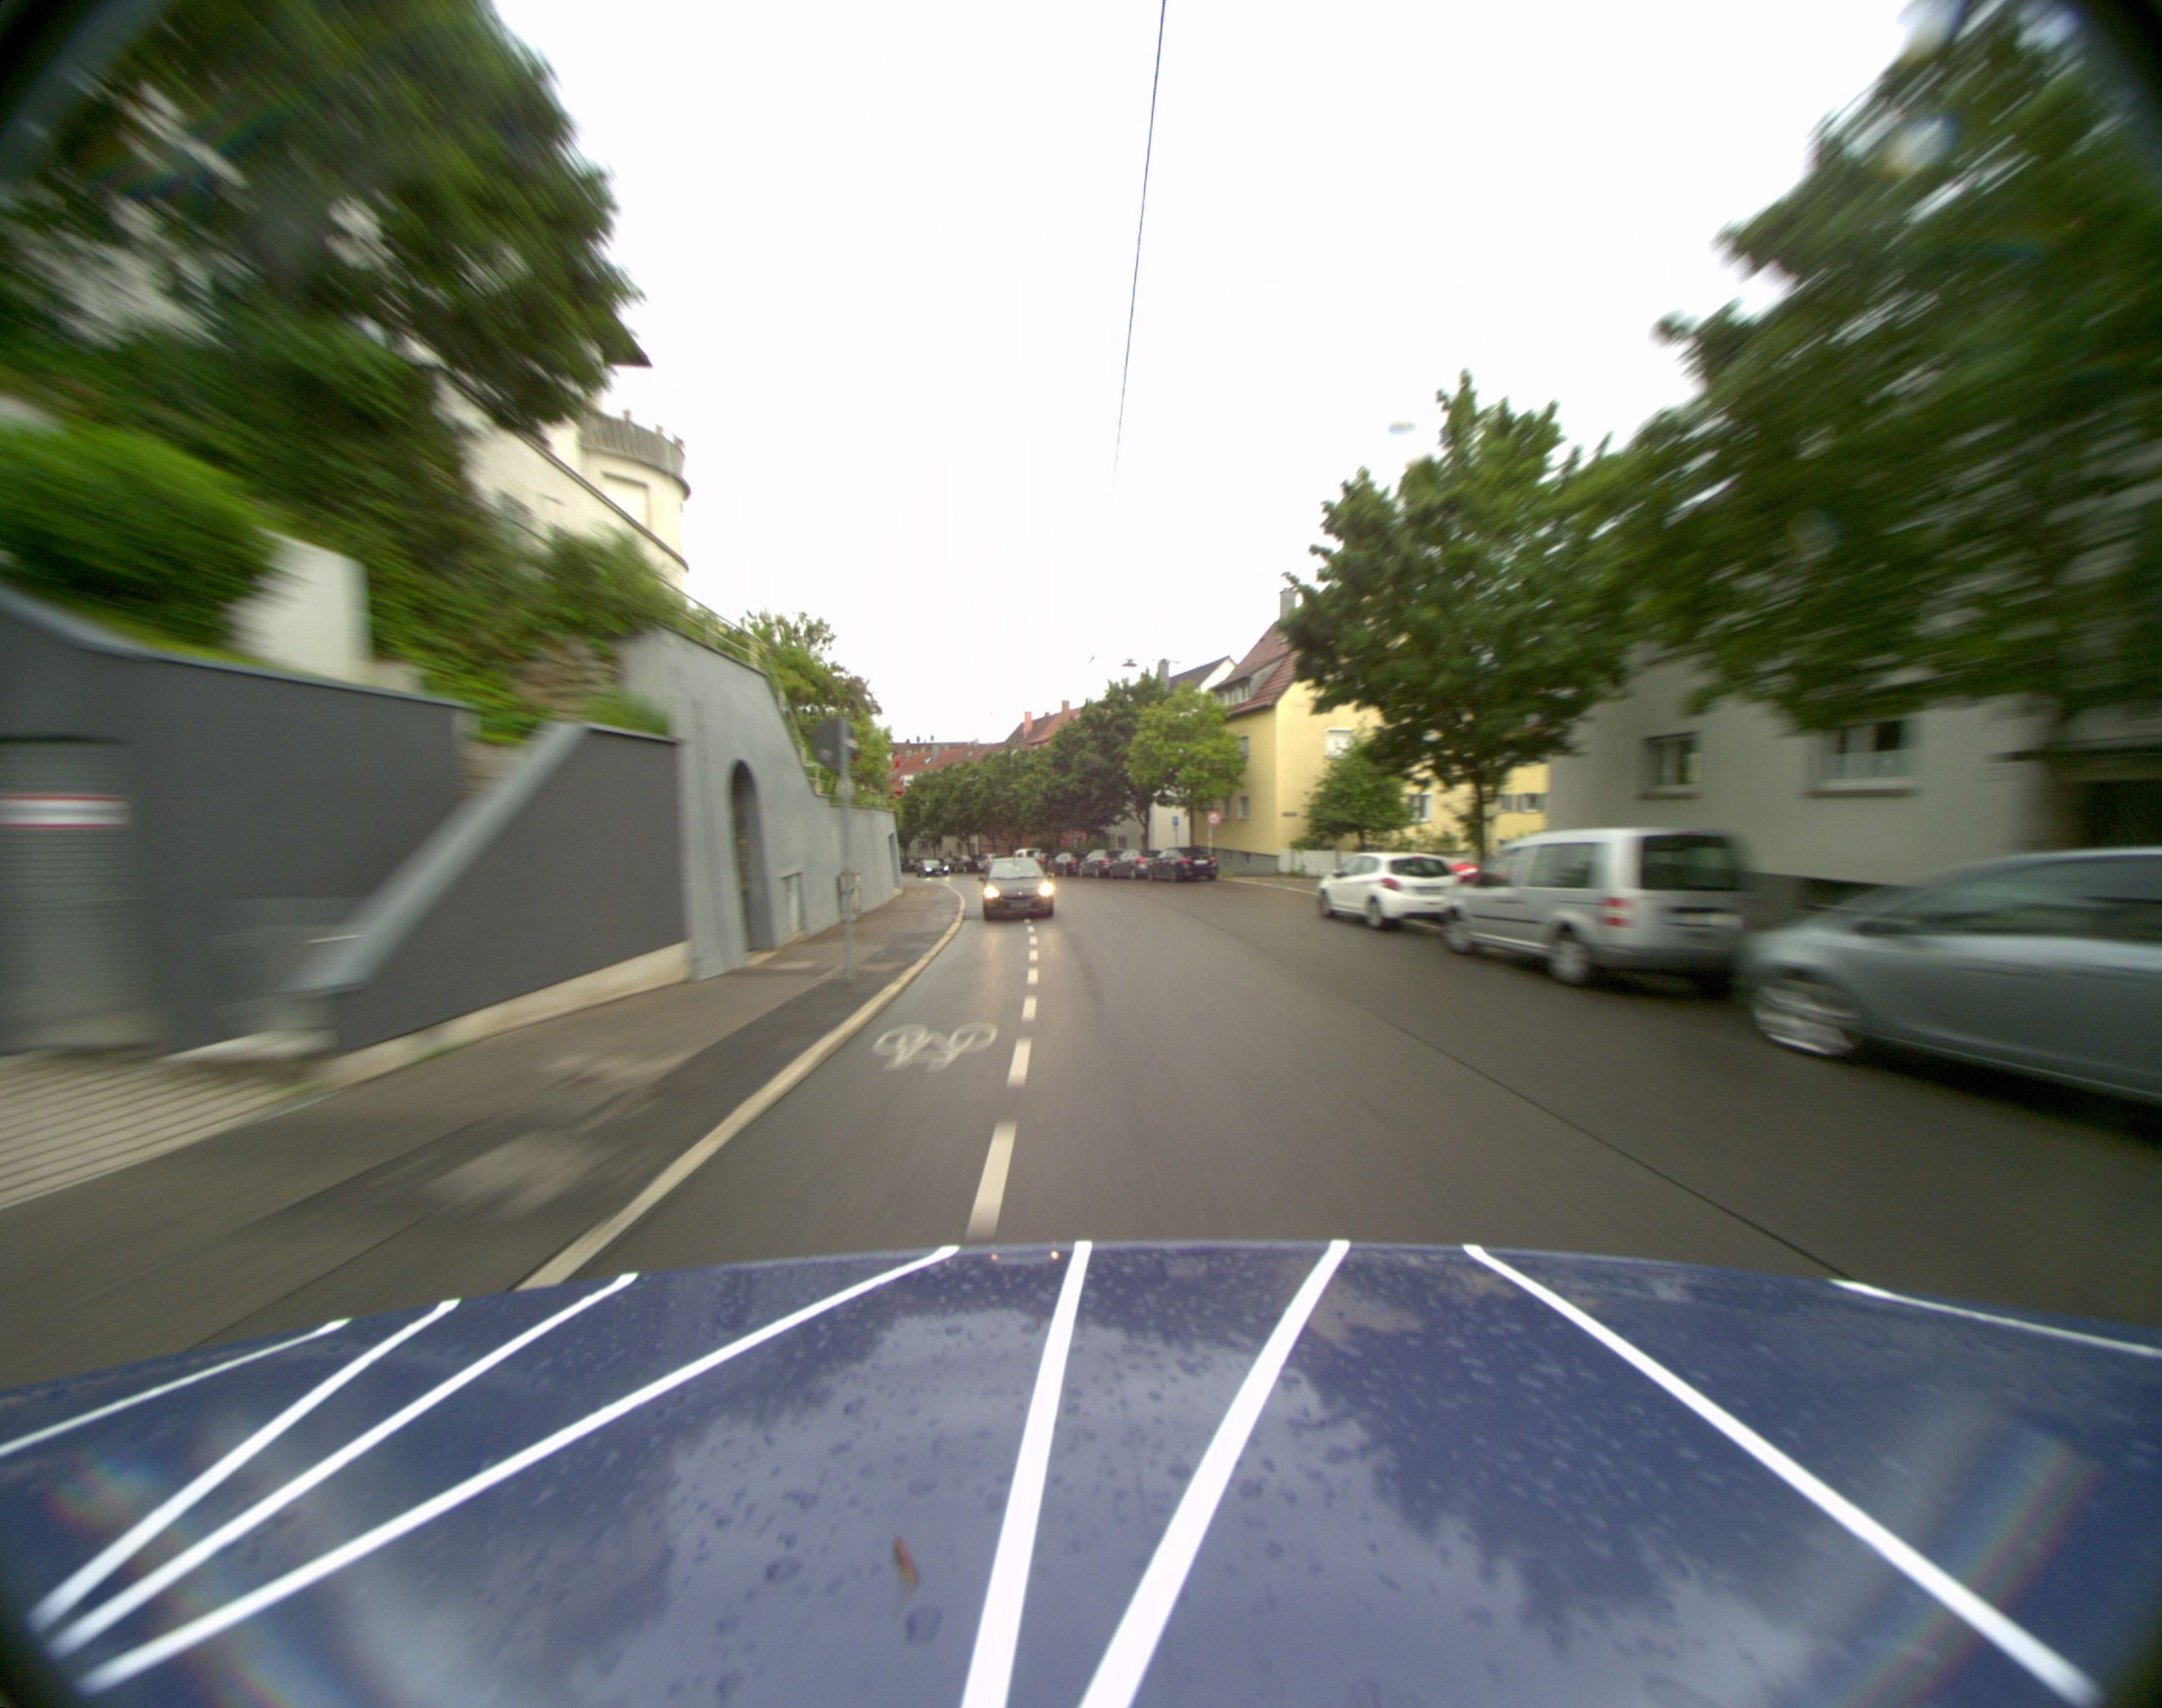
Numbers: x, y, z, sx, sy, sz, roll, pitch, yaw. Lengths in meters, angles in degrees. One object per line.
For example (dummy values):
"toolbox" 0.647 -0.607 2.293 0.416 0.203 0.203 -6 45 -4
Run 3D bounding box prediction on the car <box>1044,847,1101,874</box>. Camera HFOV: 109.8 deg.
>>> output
"car" -0.586 0.386 47.066 1.861 1.490 4.732 -4 1 -22

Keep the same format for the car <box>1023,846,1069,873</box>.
"car" -2.440 0.385 51.781 1.861 1.658 4.580 -3 1 -19

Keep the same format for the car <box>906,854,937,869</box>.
"car" -17.925 0.830 85.142 1.796 1.485 4.351 -4 1 -34

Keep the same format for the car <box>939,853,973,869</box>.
"car" -12.477 0.694 75.394 1.795 1.485 4.351 -4 1 -31

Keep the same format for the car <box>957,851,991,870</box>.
"car" -9.967 0.593 70.533 1.795 1.632 4.471 -3 1 -25

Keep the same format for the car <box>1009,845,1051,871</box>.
"car" -3.886 0.286 57.158 1.861 1.766 4.474 -3 1 -21

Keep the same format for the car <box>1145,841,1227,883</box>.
"car" 4.266 0.298 31.624 1.781 1.532 4.511 -3 1 -13

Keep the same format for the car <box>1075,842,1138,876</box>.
"car" 1.287 0.261 41.060 1.861 1.680 4.547 -2 0 -19

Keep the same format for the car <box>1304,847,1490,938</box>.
"car" 6.327 0.684 15.838 1.789 1.506 4.342 1 2 -4

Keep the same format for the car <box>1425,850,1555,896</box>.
"car" 15.663 0.716 29.204 4.002 1.436 1.997 3 1 -13

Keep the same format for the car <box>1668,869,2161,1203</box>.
"car" 6.227 0.956 4.720 1.809 1.477 4.234 1 2 0

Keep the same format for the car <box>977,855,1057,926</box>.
"car" -1.547 0.840 19.439 1.698 1.456 3.999 -6 1 -2

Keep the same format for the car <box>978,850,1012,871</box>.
"car" -7.437 0.536 65.315 1.754 1.680 4.592 -3 1 -21

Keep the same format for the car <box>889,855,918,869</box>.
"car" -20.917 0.896 89.471 1.795 1.485 4.633 -5 2 -33

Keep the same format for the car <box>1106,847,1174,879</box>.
"car" 2.766 0.413 36.557 1.620 1.388 4.315 -3 1 -19

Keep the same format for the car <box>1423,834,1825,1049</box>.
"car" 6.345 0.806 9.712 1.919 1.990 4.546 -2 2 1
